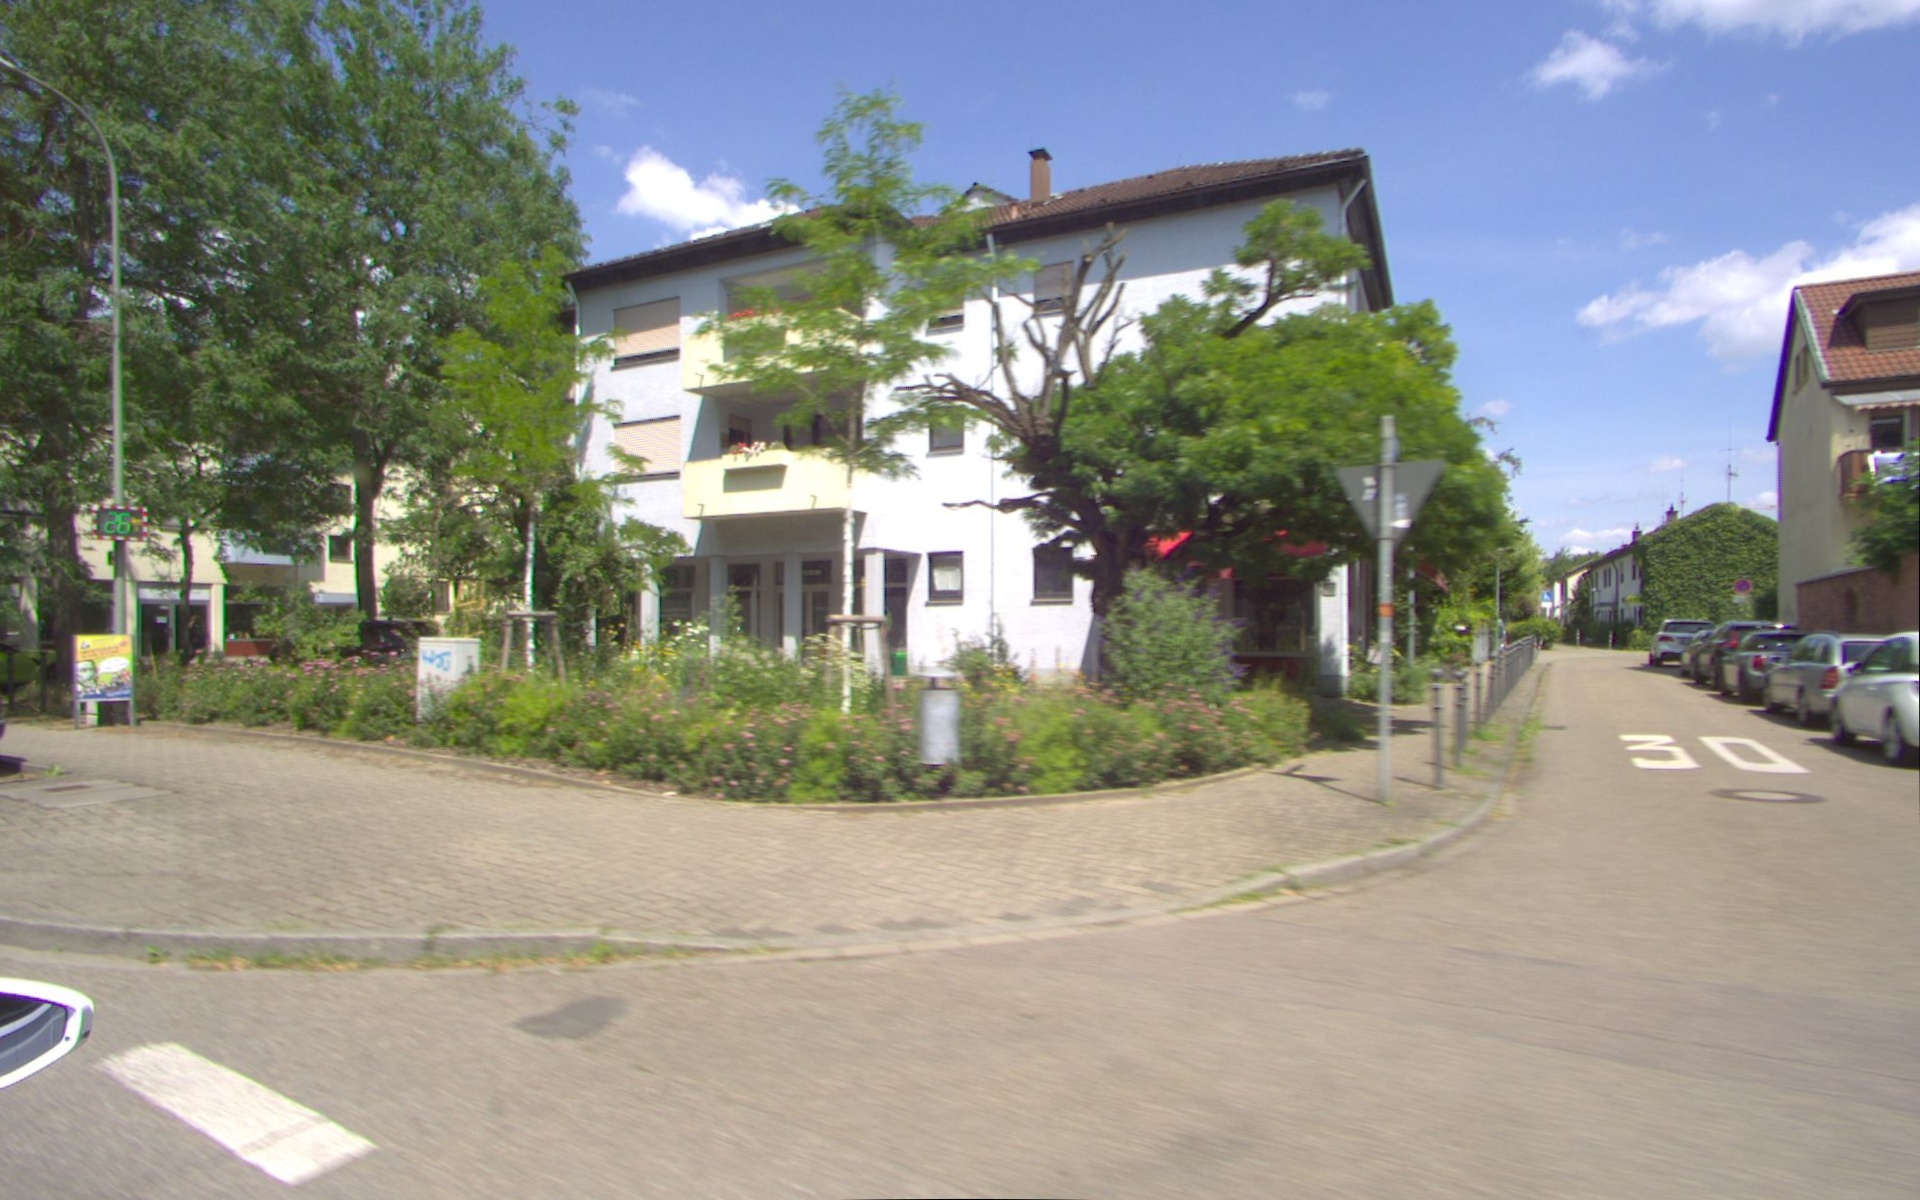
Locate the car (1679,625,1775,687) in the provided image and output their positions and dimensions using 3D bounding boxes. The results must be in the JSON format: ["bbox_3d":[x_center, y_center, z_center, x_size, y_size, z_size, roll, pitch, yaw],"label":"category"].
[{"bbox_3d":[21.356,1.545,27.996,1.716,1.549,3.593,1,-2,32],"label":"car"}]

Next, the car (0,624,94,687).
[{"bbox_3d":[-22.313,1.211,22.150,1.964,1.398,4.390,0,-3,17],"label":"car"}]

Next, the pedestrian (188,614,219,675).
[{"bbox_3d":[-23.690,1.396,31.350,0.586,1.883,0.603,0,-1,-17],"label":"pedestrian"}]

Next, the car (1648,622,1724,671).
[{"bbox_3d":[26.498,1.667,36.675,1.972,1.683,3.980,-1,-2,32],"label":"car"}]

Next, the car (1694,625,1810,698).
[{"bbox_3d":[18.810,1.435,23.919,1.716,1.549,3.593,1,-2,32],"label":"car"}]

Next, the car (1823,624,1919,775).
[{"bbox_3d":[11.455,1.119,11.524,1.716,1.549,3.593,1,-2,32],"label":"car"}]

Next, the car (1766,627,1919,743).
[{"bbox_3d":[13.840,1.256,15.441,1.716,1.549,3.593,1,-2,32],"label":"car"}]

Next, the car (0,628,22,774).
[{"bbox_3d":[-11.556,1.056,10.368,3.942,1.439,1.688,-1,1,32],"label":"car"}]

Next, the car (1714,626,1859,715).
[{"bbox_3d":[16.379,1.353,20.027,1.716,1.549,3.593,1,-2,32],"label":"car"}]
